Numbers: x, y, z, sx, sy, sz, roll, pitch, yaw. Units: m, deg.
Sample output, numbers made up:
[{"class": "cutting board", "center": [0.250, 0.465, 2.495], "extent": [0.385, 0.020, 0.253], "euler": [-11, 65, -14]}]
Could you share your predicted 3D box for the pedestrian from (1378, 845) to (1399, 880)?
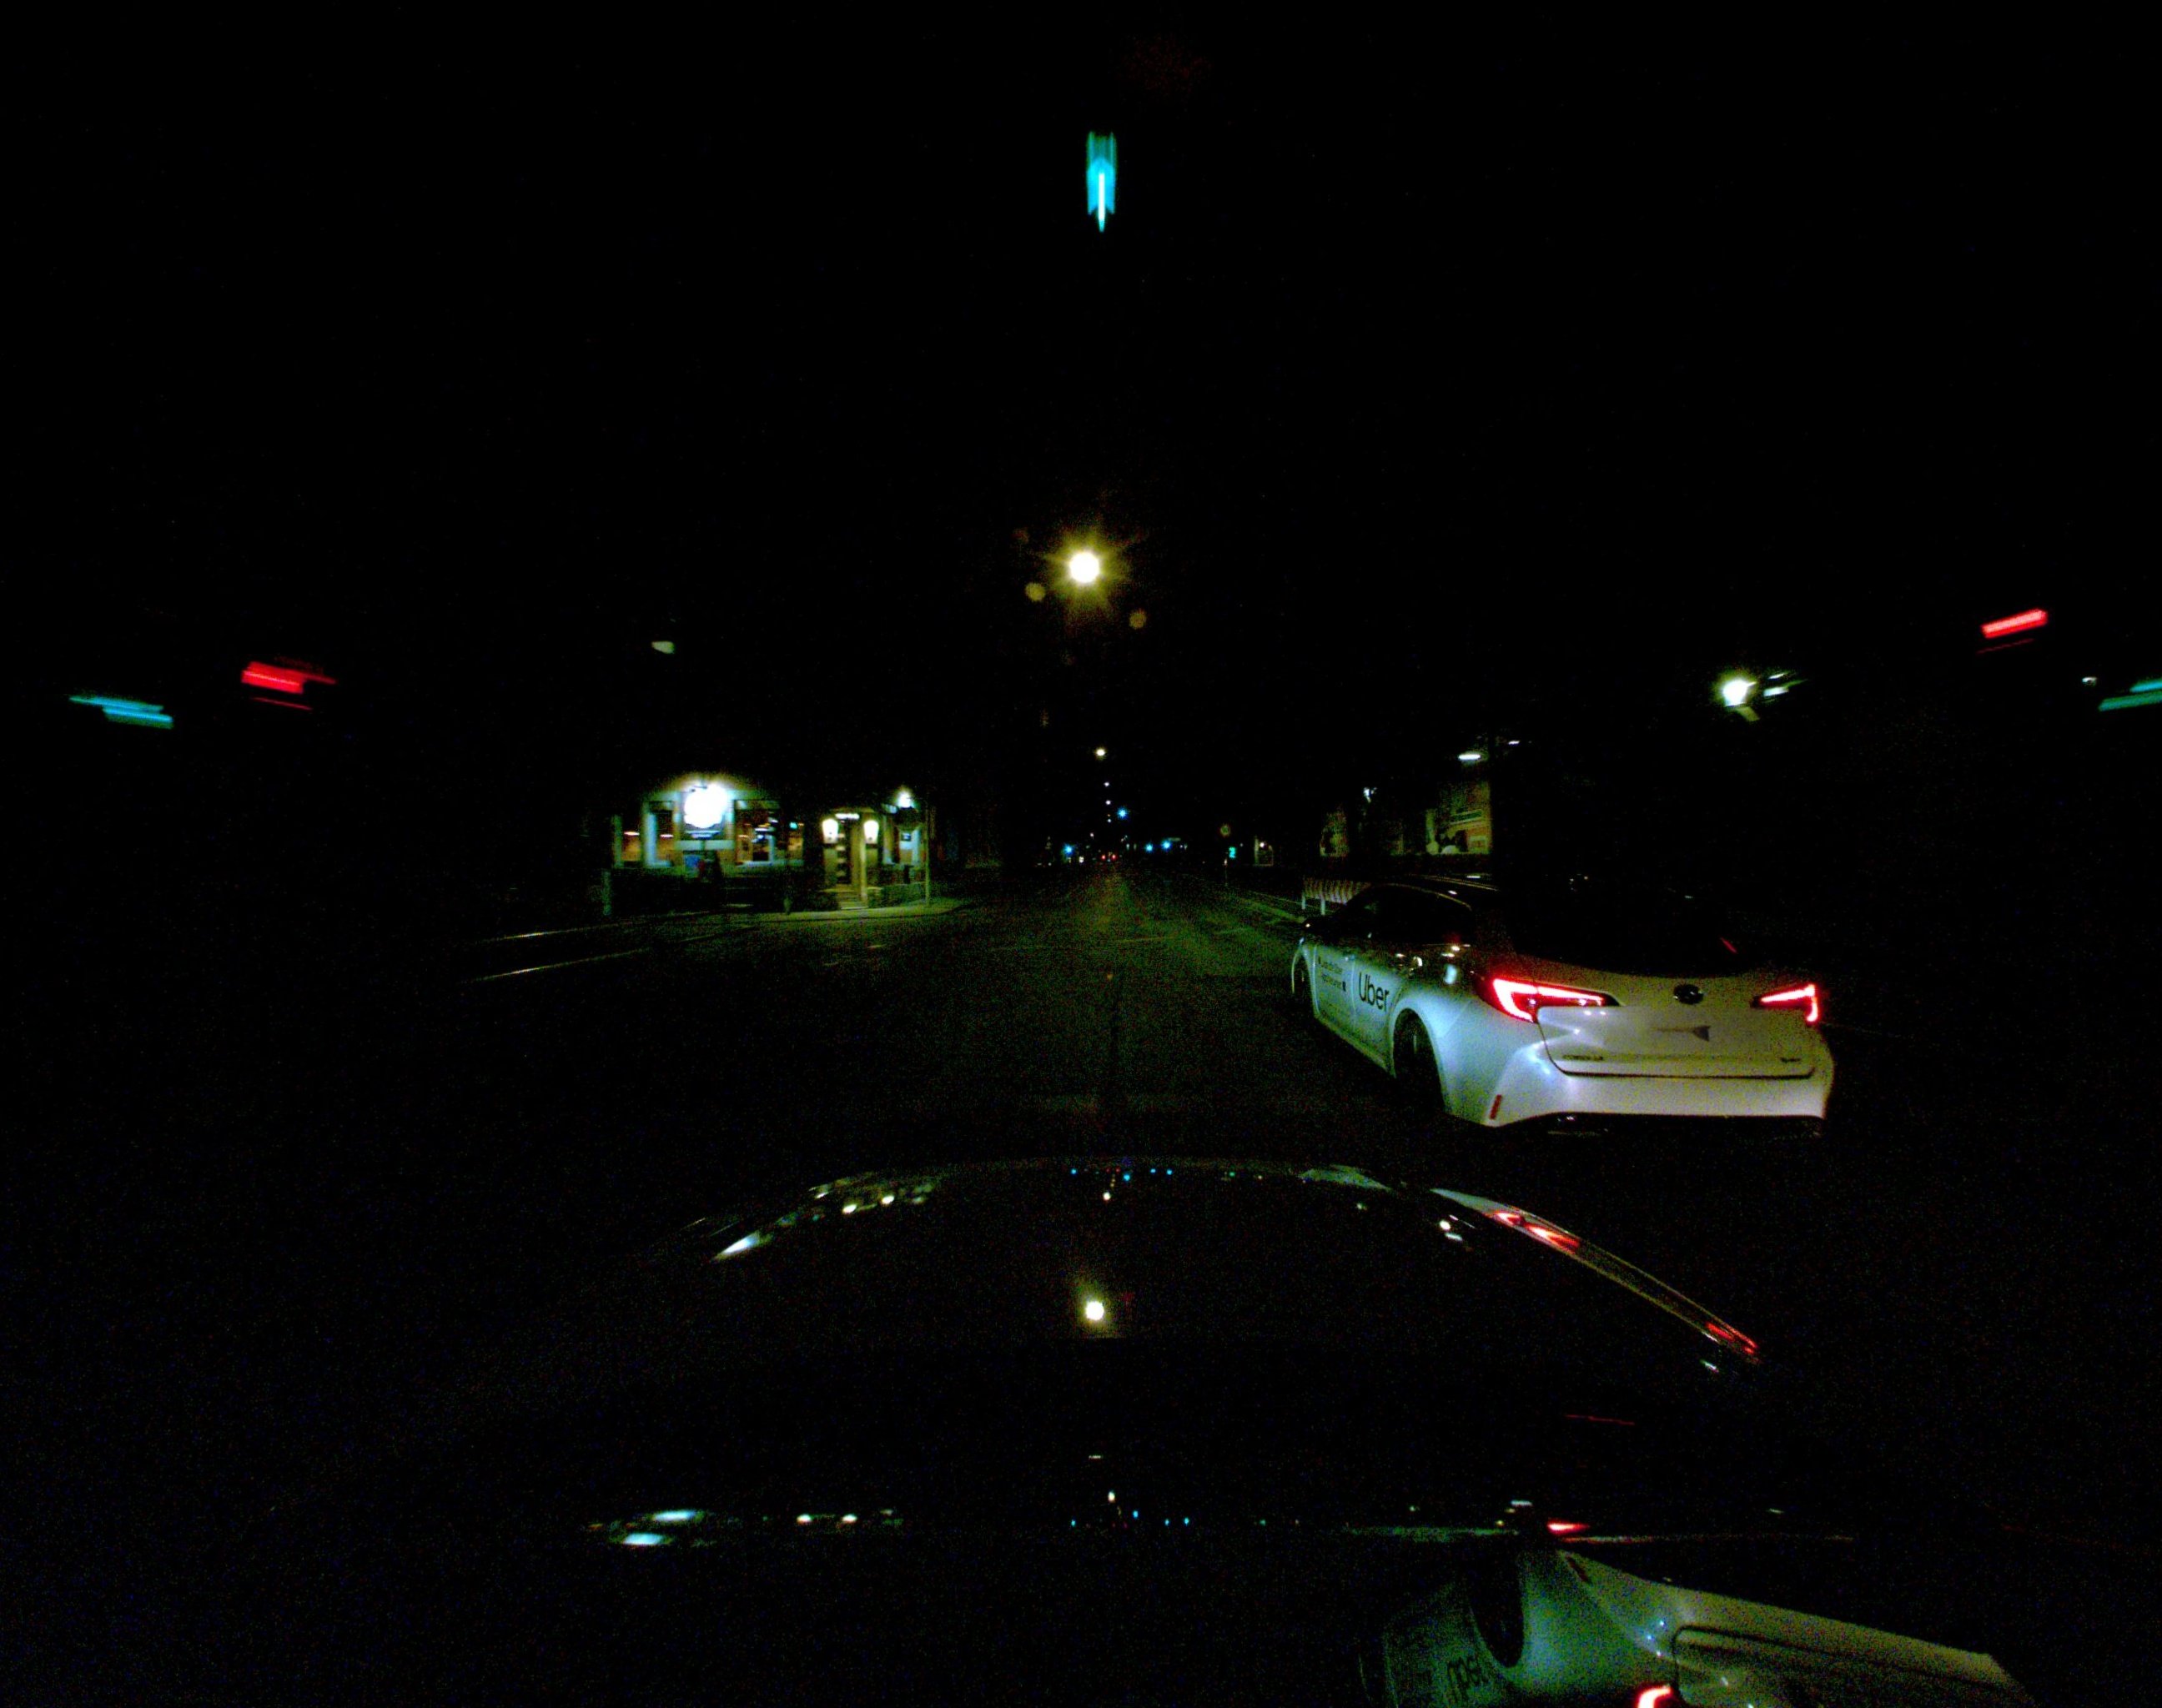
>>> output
[{"class": "pedestrian", "center": [15.790, 0.415, 41.845], "extent": [0.711, 1.769, 0.907], "euler": [-2, 0, 2]}]

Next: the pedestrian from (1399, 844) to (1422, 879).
[{"class": "pedestrian", "center": [16.768, 0.386, 41.458], "extent": [0.736, 1.769, 0.907], "euler": [-2, 0, 2]}]

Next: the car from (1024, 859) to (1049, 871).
[{"class": "car", "center": [-6.126, 1.512, 111.865], "extent": [1.815, 1.486, 3.962], "euler": [-2, 0, -30]}]

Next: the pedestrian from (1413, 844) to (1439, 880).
[{"class": "pedestrian", "center": [17.801, 0.412, 42.034], "extent": [0.897, 1.769, 0.907], "euler": [-2, 0, 1]}]

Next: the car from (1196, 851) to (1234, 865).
[{"class": "car", "center": [14.707, 0.416, 89.653], "extent": [3.968, 1.386, 1.773], "euler": [-2, 0, 4]}]

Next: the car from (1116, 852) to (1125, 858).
[{"class": "car", "center": [10.504, 0.360, 216.997], "extent": [1.987, 1.596, 3.999], "euler": [-2, 0, -1]}]

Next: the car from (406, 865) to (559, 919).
[{"class": "car", "center": [-19.324, 1.219, 26.414], "extent": [3.599, 1.594, 1.700], "euler": [-1, -2, -5]}]

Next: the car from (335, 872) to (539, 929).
[{"class": "car", "center": [-17.965, 1.276, 22.862], "extent": [4.260, 1.402, 1.802], "euler": [-2, 0, 1]}]

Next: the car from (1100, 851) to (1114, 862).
[{"class": "car", "center": [4.004, 0.433, 126.032], "extent": [1.987, 1.640, 4.000], "euler": [-1, -1, 0]}]

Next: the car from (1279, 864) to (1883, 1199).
[{"class": "car", "center": [2.736, 0.814, 5.725], "extent": [1.723, 1.435, 4.211], "euler": [1, 0, 1]}]

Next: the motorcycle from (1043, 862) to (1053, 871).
[{"class": "motorcycle", "center": [-4.419, 1.639, 109.029], "extent": [0.783, 1.204, 2.435], "euler": [-2, 0, -17]}]

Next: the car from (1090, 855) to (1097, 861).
[{"class": "car", "center": [3.160, 1.011, 202.605], "extent": [1.772, 1.390, 4.000], "euler": [-2, 0, 0]}]
